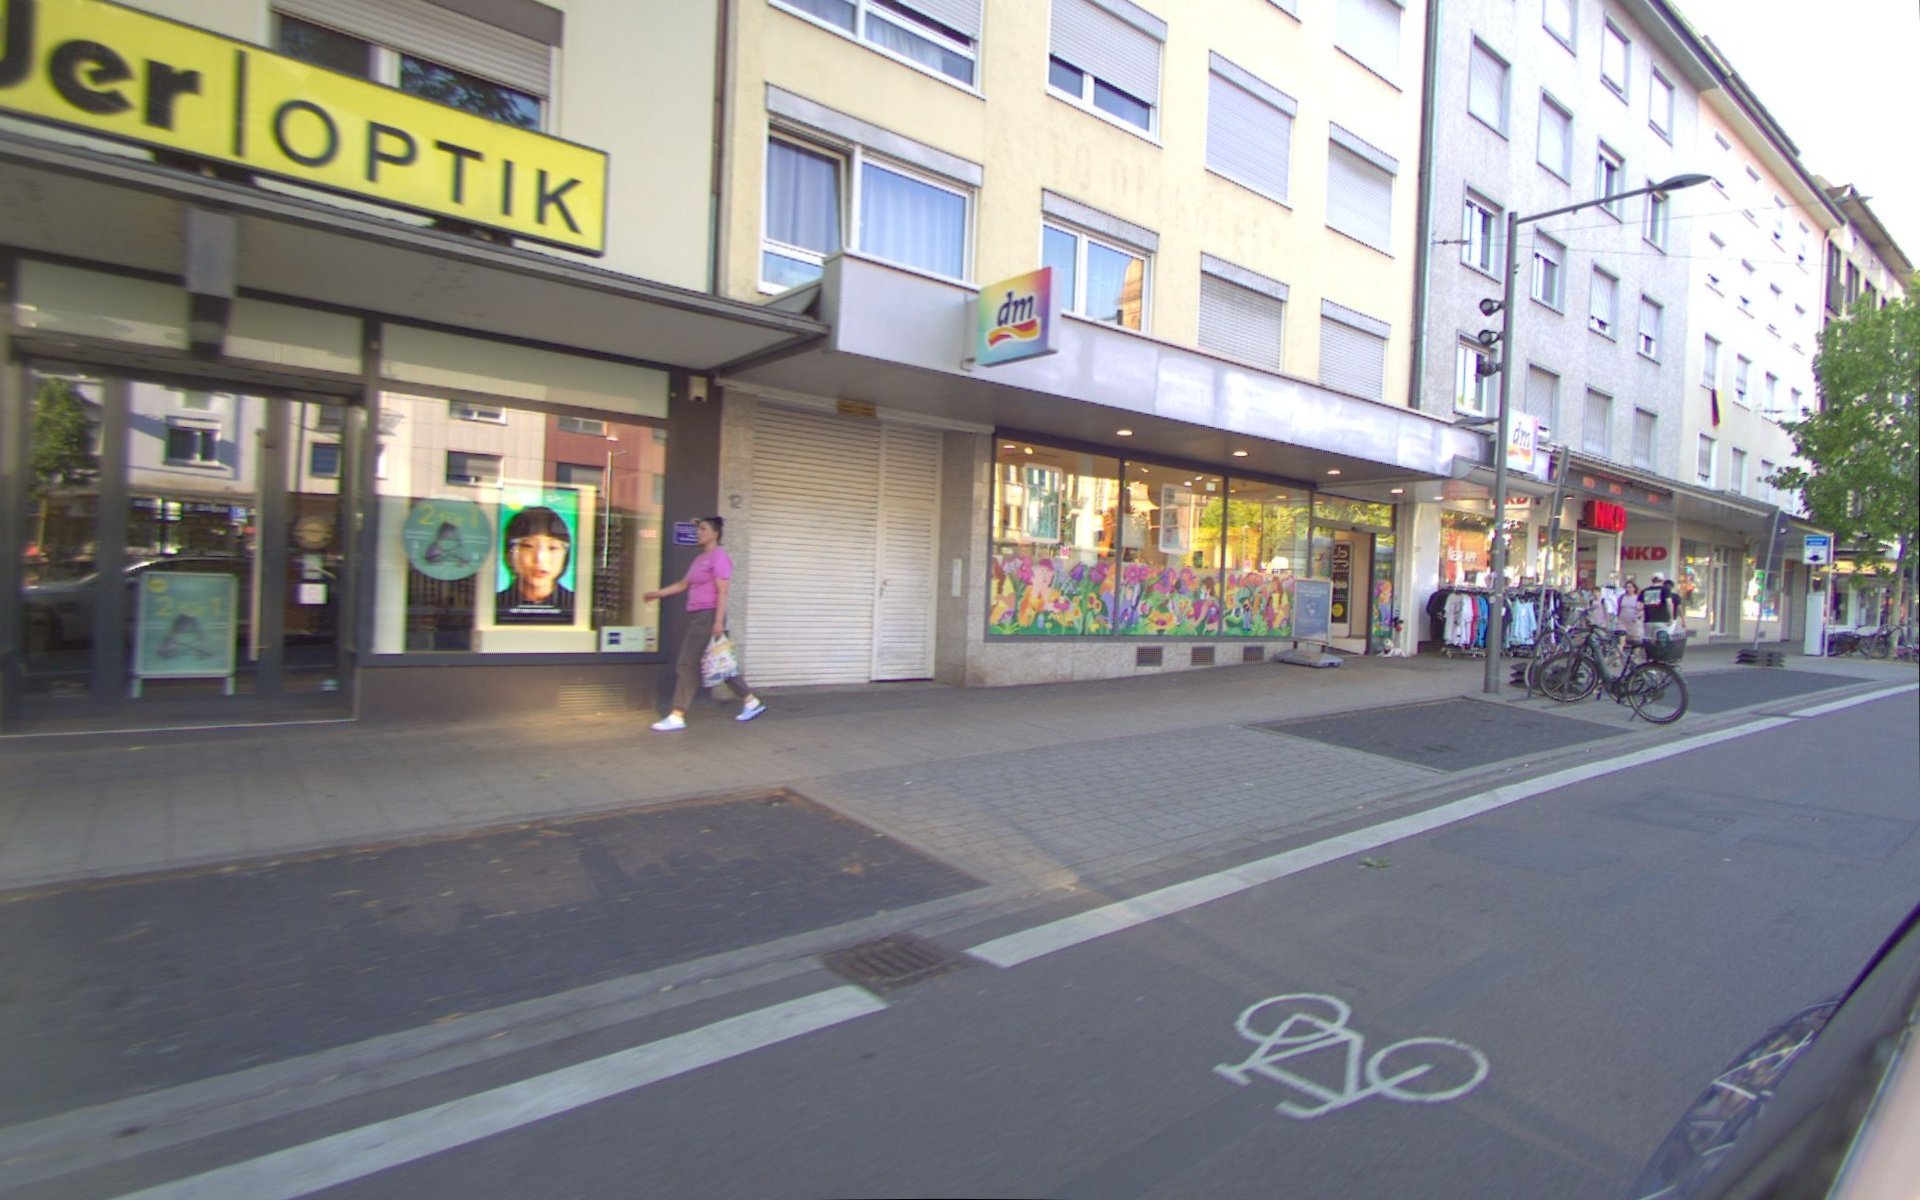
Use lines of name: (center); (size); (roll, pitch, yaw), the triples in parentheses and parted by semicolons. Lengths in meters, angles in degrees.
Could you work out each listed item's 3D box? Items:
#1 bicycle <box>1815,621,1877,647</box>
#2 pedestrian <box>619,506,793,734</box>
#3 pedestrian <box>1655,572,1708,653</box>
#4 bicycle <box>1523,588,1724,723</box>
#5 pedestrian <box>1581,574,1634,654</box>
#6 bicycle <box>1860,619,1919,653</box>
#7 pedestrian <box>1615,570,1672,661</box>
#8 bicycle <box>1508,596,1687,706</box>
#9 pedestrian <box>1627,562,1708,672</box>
bicycle: (23.355, 0.883, 26.719); (0.832, 0.579, 1.743); (3, 2, 28)
pedestrian: (-2.168, 0.126, 8.614); (1.113, 1.784, 0.970); (0, 3, -38)
pedestrian: (15.773, 0.261, 22.127); (1.050, 1.695, 0.570); (1, 3, -39)
bicycle: (7.938, 0.620, 12.212); (0.679, 1.327, 1.798); (2, 6, -27)
pedestrian: (12.828, 0.275, 20.047); (0.879, 1.520, 0.542); (2, 2, -39)
bicycle: (24.121, 0.932, 25.705); (1.746, 0.788, 0.696); (4, 2, 29)
pedestrian: (12.812, 0.288, 18.959); (0.879, 1.648, 0.547); (2, 2, -39)
bicycle: (8.253, 0.630, 13.198); (1.775, 1.137, 0.659); (7, 5, 25)
pedestrian: (12.394, 0.279, 17.734); (0.913, 1.821, 0.776); (1, 4, -37)
